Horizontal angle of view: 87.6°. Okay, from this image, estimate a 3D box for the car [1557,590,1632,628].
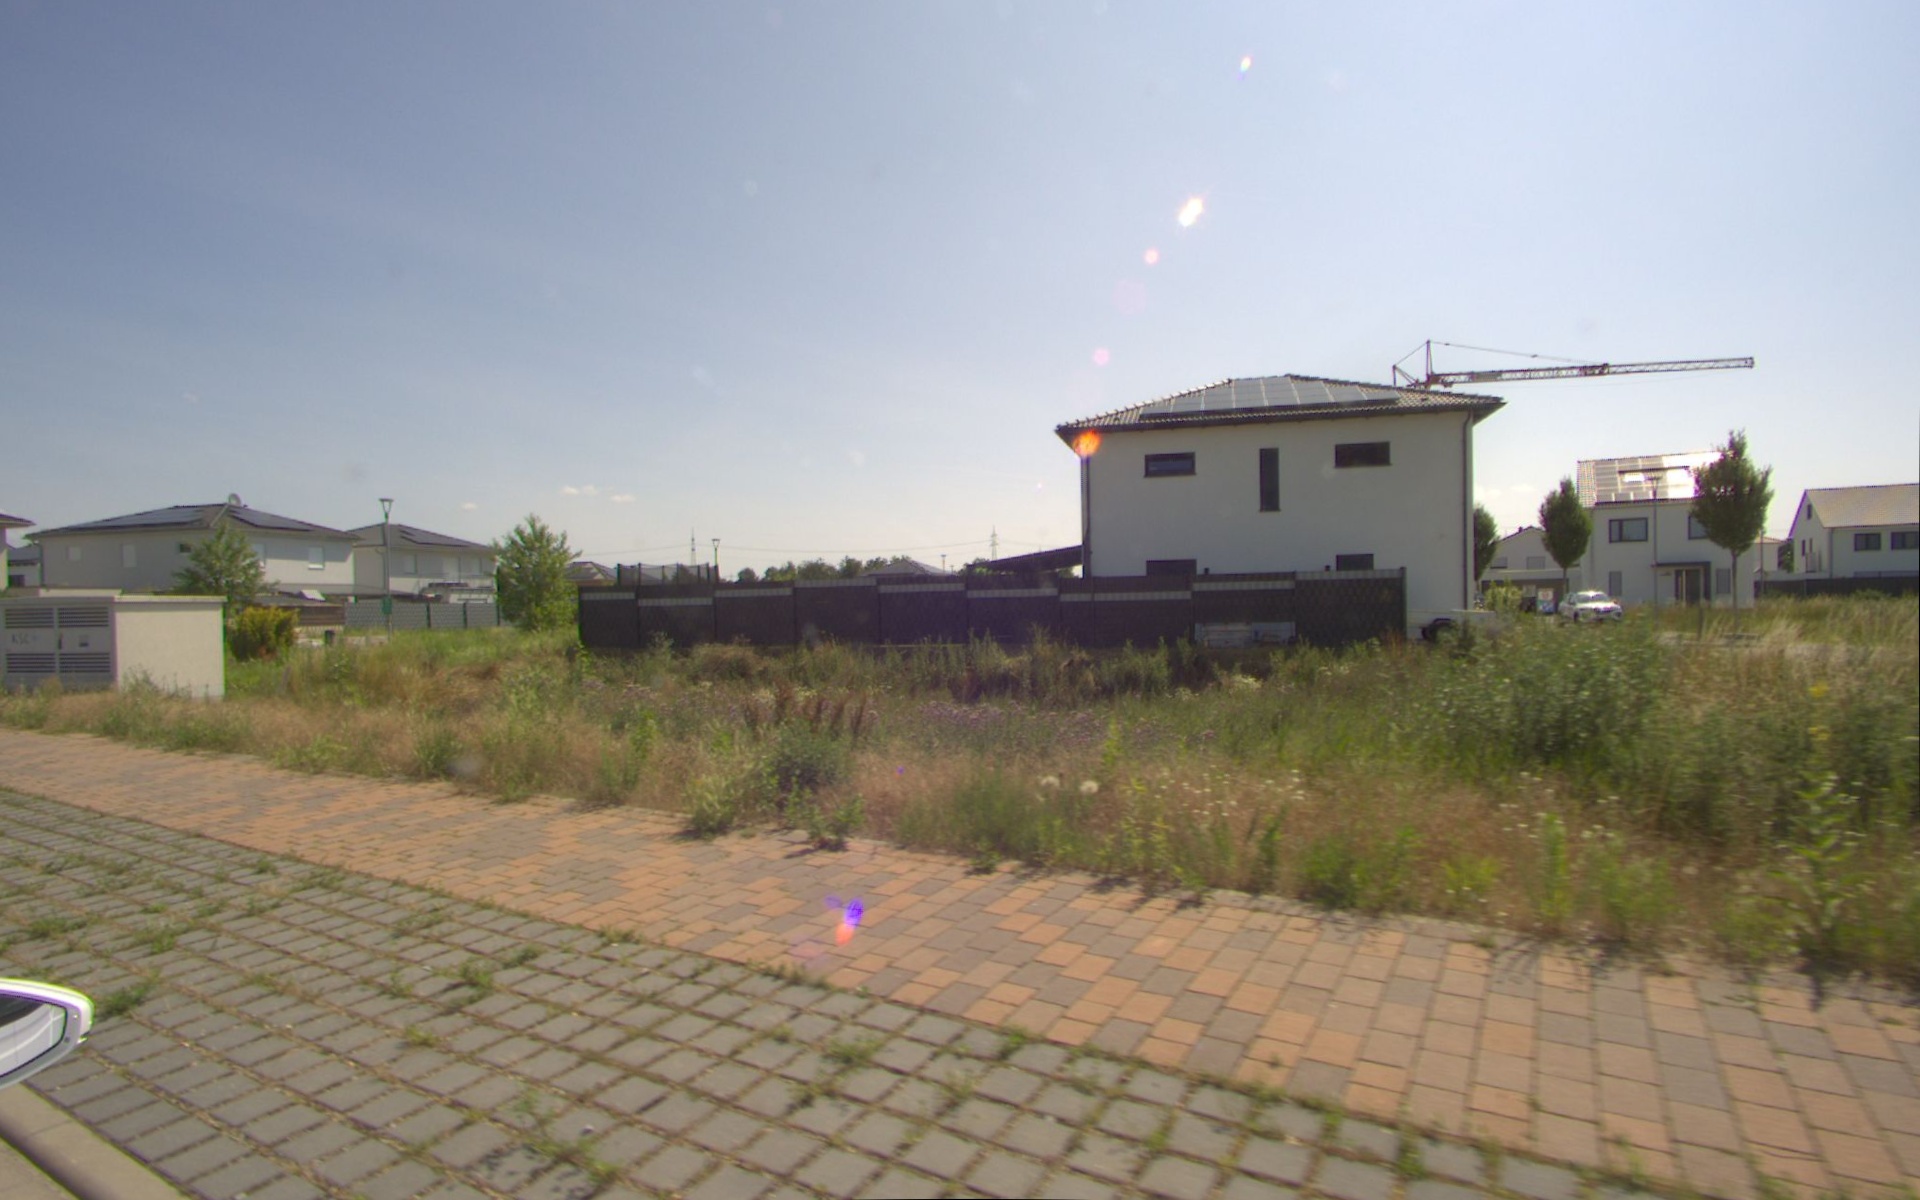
[{"bbox_3d":[25.961,0.374,41.094,1.711,1.461,3.824,-1,0,18],"label":"car"}]
